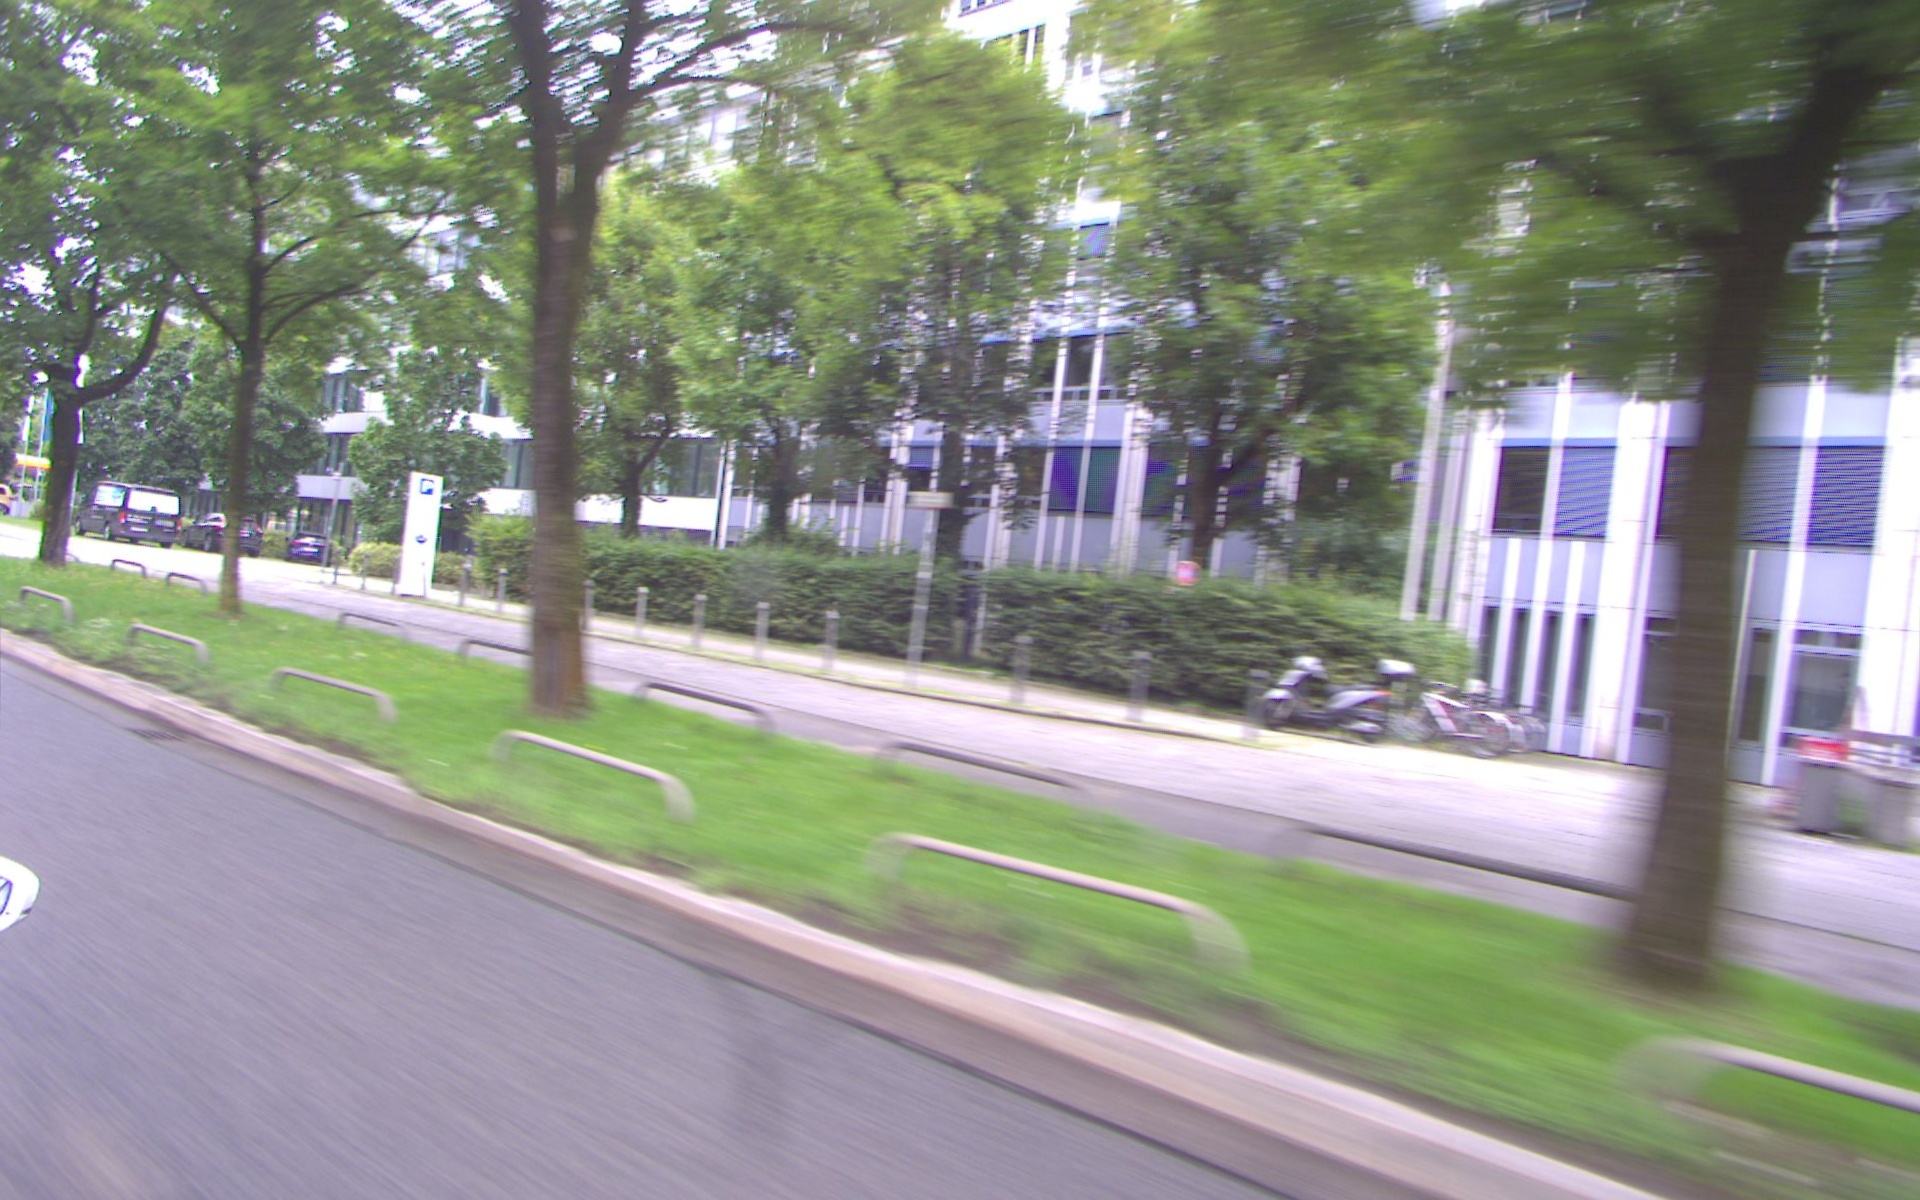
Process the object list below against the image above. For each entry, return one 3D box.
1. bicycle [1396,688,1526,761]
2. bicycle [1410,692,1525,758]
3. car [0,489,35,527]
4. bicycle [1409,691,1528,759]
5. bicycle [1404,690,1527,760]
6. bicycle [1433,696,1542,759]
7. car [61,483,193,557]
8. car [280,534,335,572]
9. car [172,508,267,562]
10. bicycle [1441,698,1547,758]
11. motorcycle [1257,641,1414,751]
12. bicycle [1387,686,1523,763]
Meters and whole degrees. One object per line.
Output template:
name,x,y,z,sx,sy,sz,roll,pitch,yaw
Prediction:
bicycle,8.242,2.031,16.579,1.803,0.864,0.553,8,1,31
bicycle,9.183,2.245,18.229,1.744,0.864,0.559,8,1,31
car,-61.156,-6.029,62.144,2.113,2.108,5.473,7,-1,35
bicycle,8.906,2.178,17.657,1.744,0.864,0.559,8,1,31
bicycle,8.604,2.109,17.136,1.744,0.864,0.559,8,1,31
bicycle,10.147,2.436,19.374,1.744,0.864,0.559,8,1,31
car,-33.259,-3.214,40.096,6.168,2.335,2.266,6,0,34
car,-29.452,-2.154,45.369,1.773,1.390,3.926,8,-2,-36
car,-31.813,-2.809,43.185,4.400,1.841,1.843,6,0,34
bicycle,10.651,2.541,20.086,1.744,0.864,0.559,8,1,31
motorcycle,5.582,1.403,15.036,2.036,1.335,0.550,7,0,21
bicycle,7.839,1.946,15.950,1.803,0.864,0.683,8,1,31
